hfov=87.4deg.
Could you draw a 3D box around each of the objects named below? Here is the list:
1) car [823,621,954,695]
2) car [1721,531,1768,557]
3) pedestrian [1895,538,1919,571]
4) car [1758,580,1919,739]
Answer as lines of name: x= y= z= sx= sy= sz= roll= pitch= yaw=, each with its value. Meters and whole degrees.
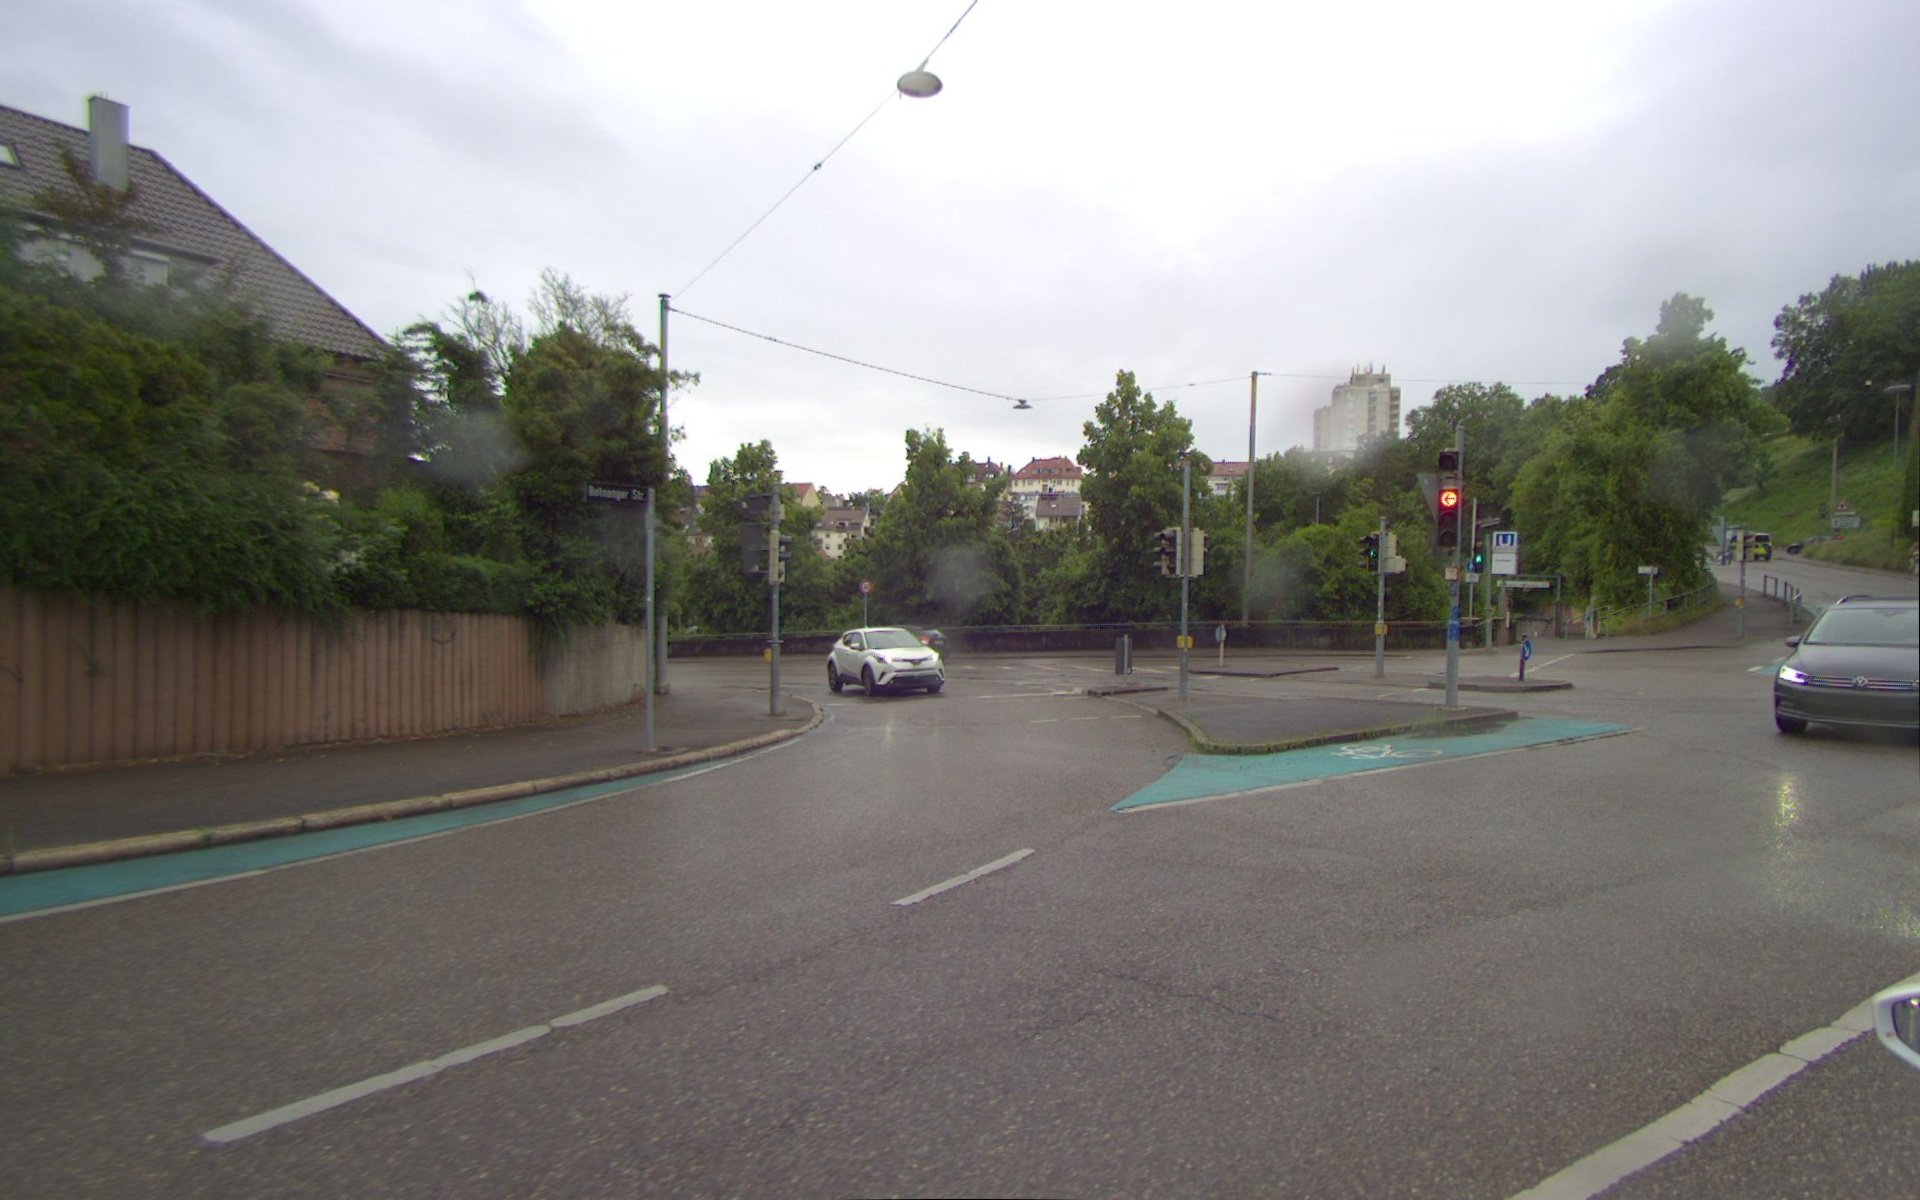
car: x=-1.787 y=1.359 z=23.888 sx=1.812 sy=1.527 sz=3.861 roll=-2 pitch=-2 yaw=-25
car: x=58.083 y=-4.124 z=74.475 sx=1.888 sy=1.805 sz=3.995 roll=2 pitch=3 yaw=26
pedestrian: x=51.681 y=-2.481 z=54.825 sx=0.870 sy=1.759 sz=0.861 roll=2 pitch=0 yaw=40
car: x=11.646 y=0.618 z=12.501 sx=4.136 sy=1.702 sz=1.834 roll=-1 pitch=0 yaw=-39
